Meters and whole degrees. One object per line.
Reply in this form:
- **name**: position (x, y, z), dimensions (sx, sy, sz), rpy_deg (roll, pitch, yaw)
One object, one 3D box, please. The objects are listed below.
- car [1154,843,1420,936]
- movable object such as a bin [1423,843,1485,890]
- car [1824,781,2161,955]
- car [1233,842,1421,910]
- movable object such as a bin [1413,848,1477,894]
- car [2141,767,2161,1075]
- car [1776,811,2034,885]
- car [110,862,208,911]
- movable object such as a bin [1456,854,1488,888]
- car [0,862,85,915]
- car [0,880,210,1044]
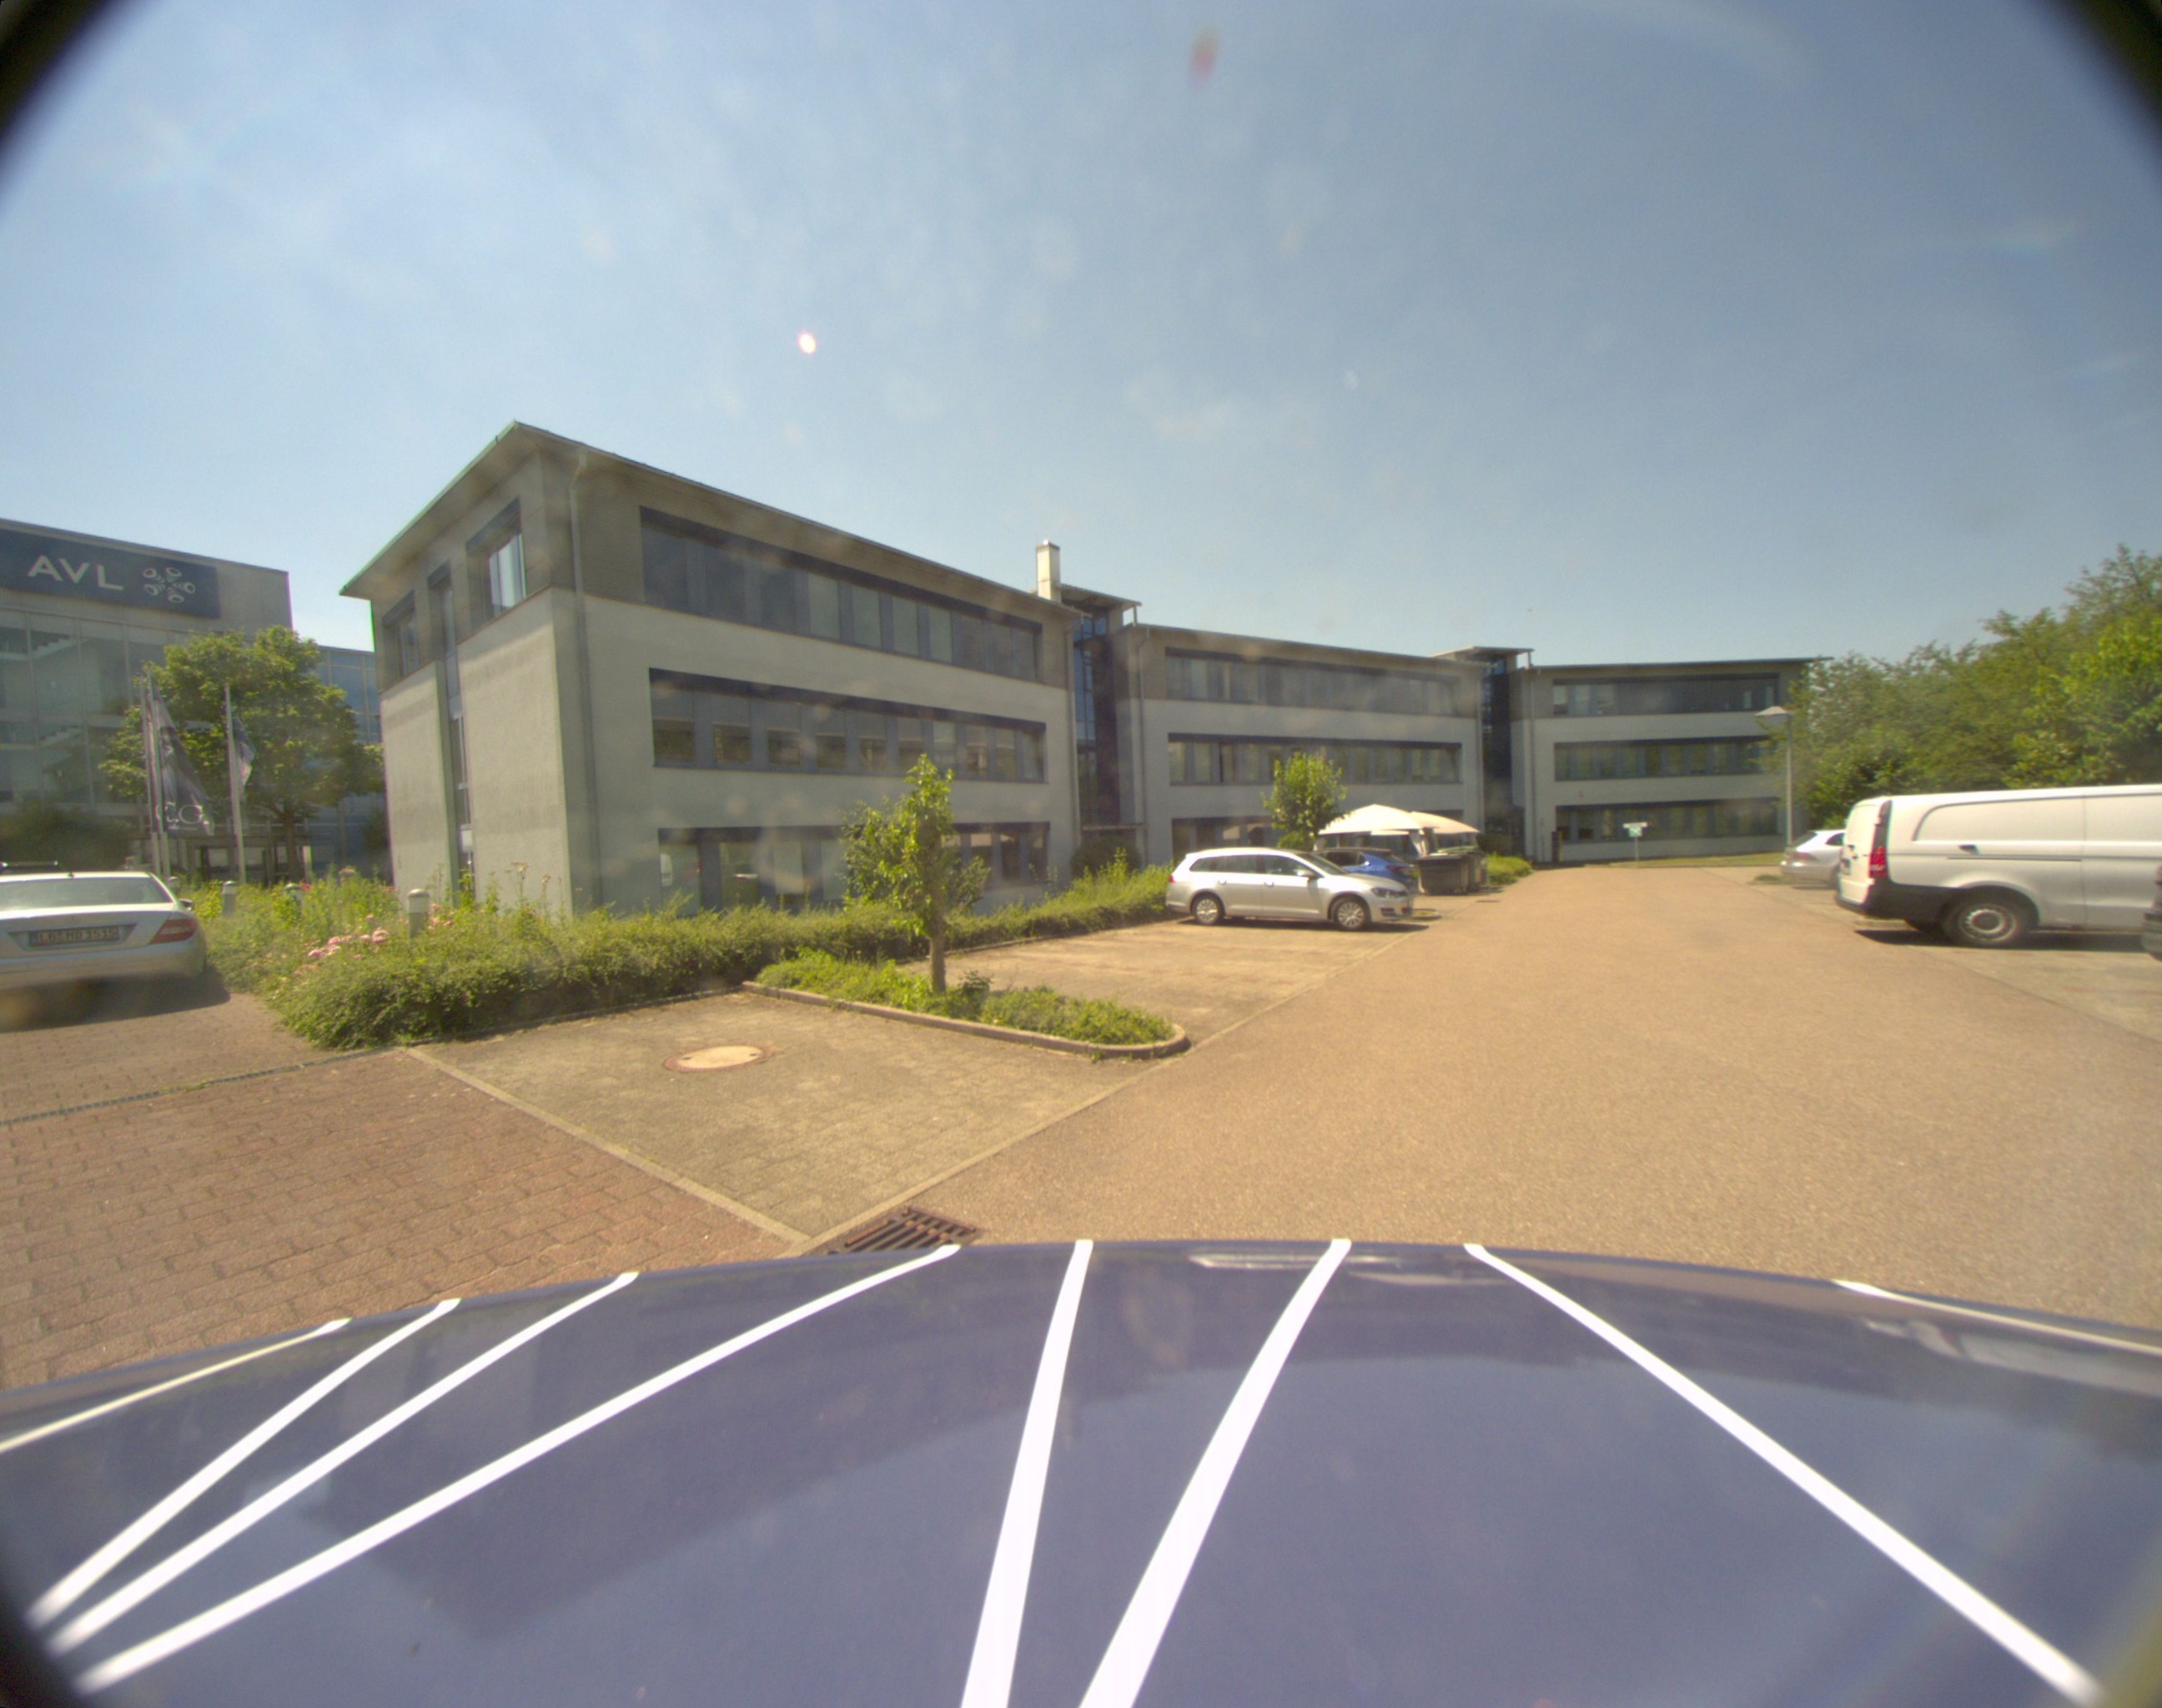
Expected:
- **car**: position (3.846, 0.584, 14.475), dimensions (4.508, 1.489, 1.832), rpy_deg (0, 2, 33)
- **movable object such as a bin**: position (10.753, 0.360, 21.904), dimensions (1.361, 1.288, 1.045), rpy_deg (-1, 2, 39)
- **car**: position (12.115, 0.123, 8.965), dimensions (4.508, 1.871, 1.832), rpy_deg (-2, 1, 33)
- **car**: position (5.647, 0.457, 17.574), dimensions (3.816, 1.384, 1.655), rpy_deg (0, 2, 34)
- **movable object such as a bin**: position (10.092, 0.471, 21.059), dimensions (1.361, 1.183, 0.999), rpy_deg (-1, 2, 39)
- **car**: position (8.202, 0.380, 2.763), dimensions (4.722, 1.895, 1.833), rpy_deg (-2, 1, 33)
- **car**: position (18.860, -0.106, 17.651), dimensions (3.755, 1.549, 1.664), rpy_deg (-2, 1, 33)
- **car**: position (-32.434, 1.116, 26.709), dimensions (3.989, 1.510, 1.753), rpy_deg (-2, 1, 34)
- **movable object such as a bin**: position (11.556, 0.496, 22.442), dimensions (0.689, 0.944, 0.723), rpy_deg (-1, 2, 39)
- **car**: position (-33.659, 1.091, 24.392), dimensions (3.989, 1.510, 1.753), rpy_deg (-2, 1, 34)
- **car**: position (-11.240, 1.061, 8.366), dimensions (3.706, 1.428, 1.733), rpy_deg (-2, 1, 35)
